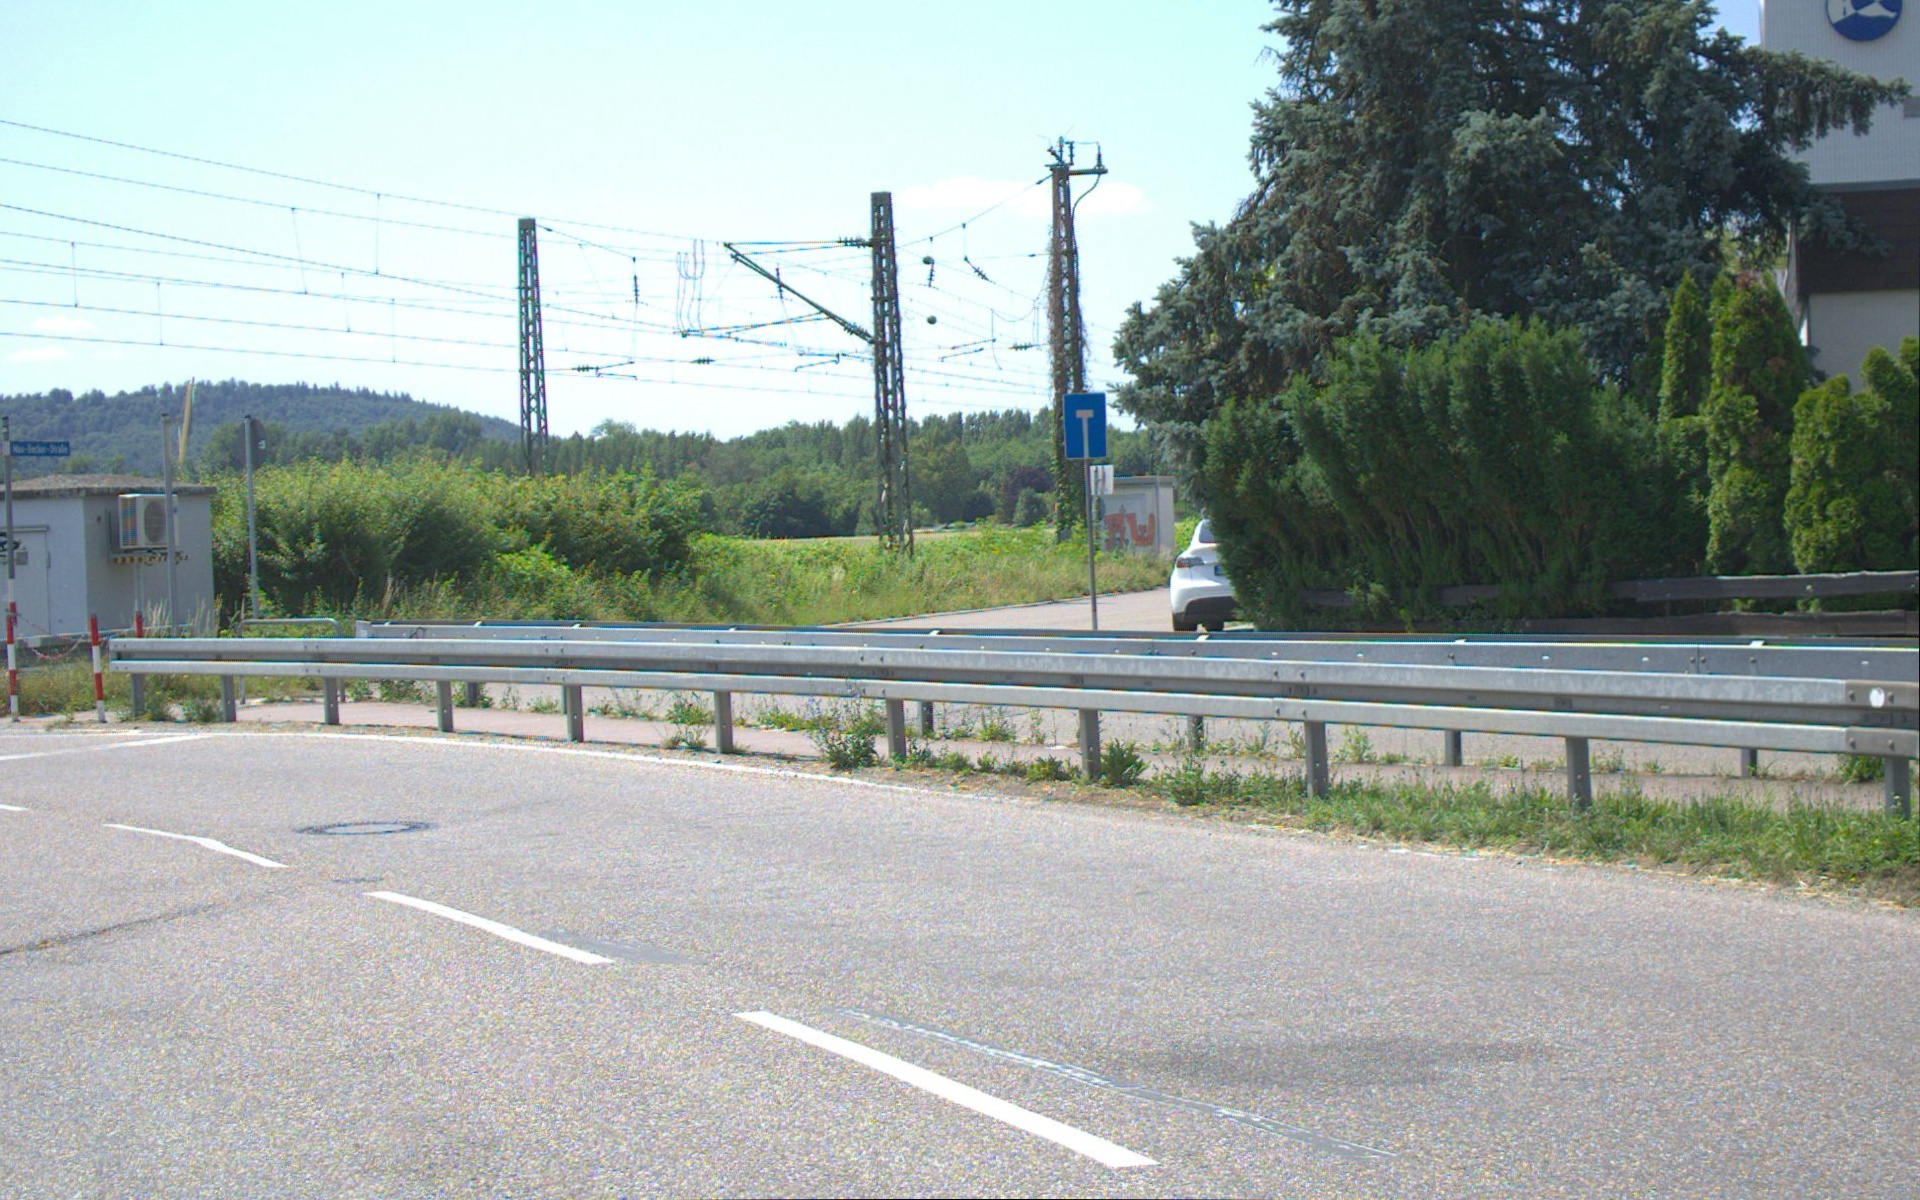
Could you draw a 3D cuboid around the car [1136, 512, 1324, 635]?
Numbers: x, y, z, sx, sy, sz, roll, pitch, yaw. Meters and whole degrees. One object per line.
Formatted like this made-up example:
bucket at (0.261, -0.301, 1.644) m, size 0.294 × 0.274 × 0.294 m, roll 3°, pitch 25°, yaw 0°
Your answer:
car at (3.799, -0.397, 47.721) m, size 1.994 × 1.504 × 4.452 m, roll -2°, pitch 2°, yaw 12°
